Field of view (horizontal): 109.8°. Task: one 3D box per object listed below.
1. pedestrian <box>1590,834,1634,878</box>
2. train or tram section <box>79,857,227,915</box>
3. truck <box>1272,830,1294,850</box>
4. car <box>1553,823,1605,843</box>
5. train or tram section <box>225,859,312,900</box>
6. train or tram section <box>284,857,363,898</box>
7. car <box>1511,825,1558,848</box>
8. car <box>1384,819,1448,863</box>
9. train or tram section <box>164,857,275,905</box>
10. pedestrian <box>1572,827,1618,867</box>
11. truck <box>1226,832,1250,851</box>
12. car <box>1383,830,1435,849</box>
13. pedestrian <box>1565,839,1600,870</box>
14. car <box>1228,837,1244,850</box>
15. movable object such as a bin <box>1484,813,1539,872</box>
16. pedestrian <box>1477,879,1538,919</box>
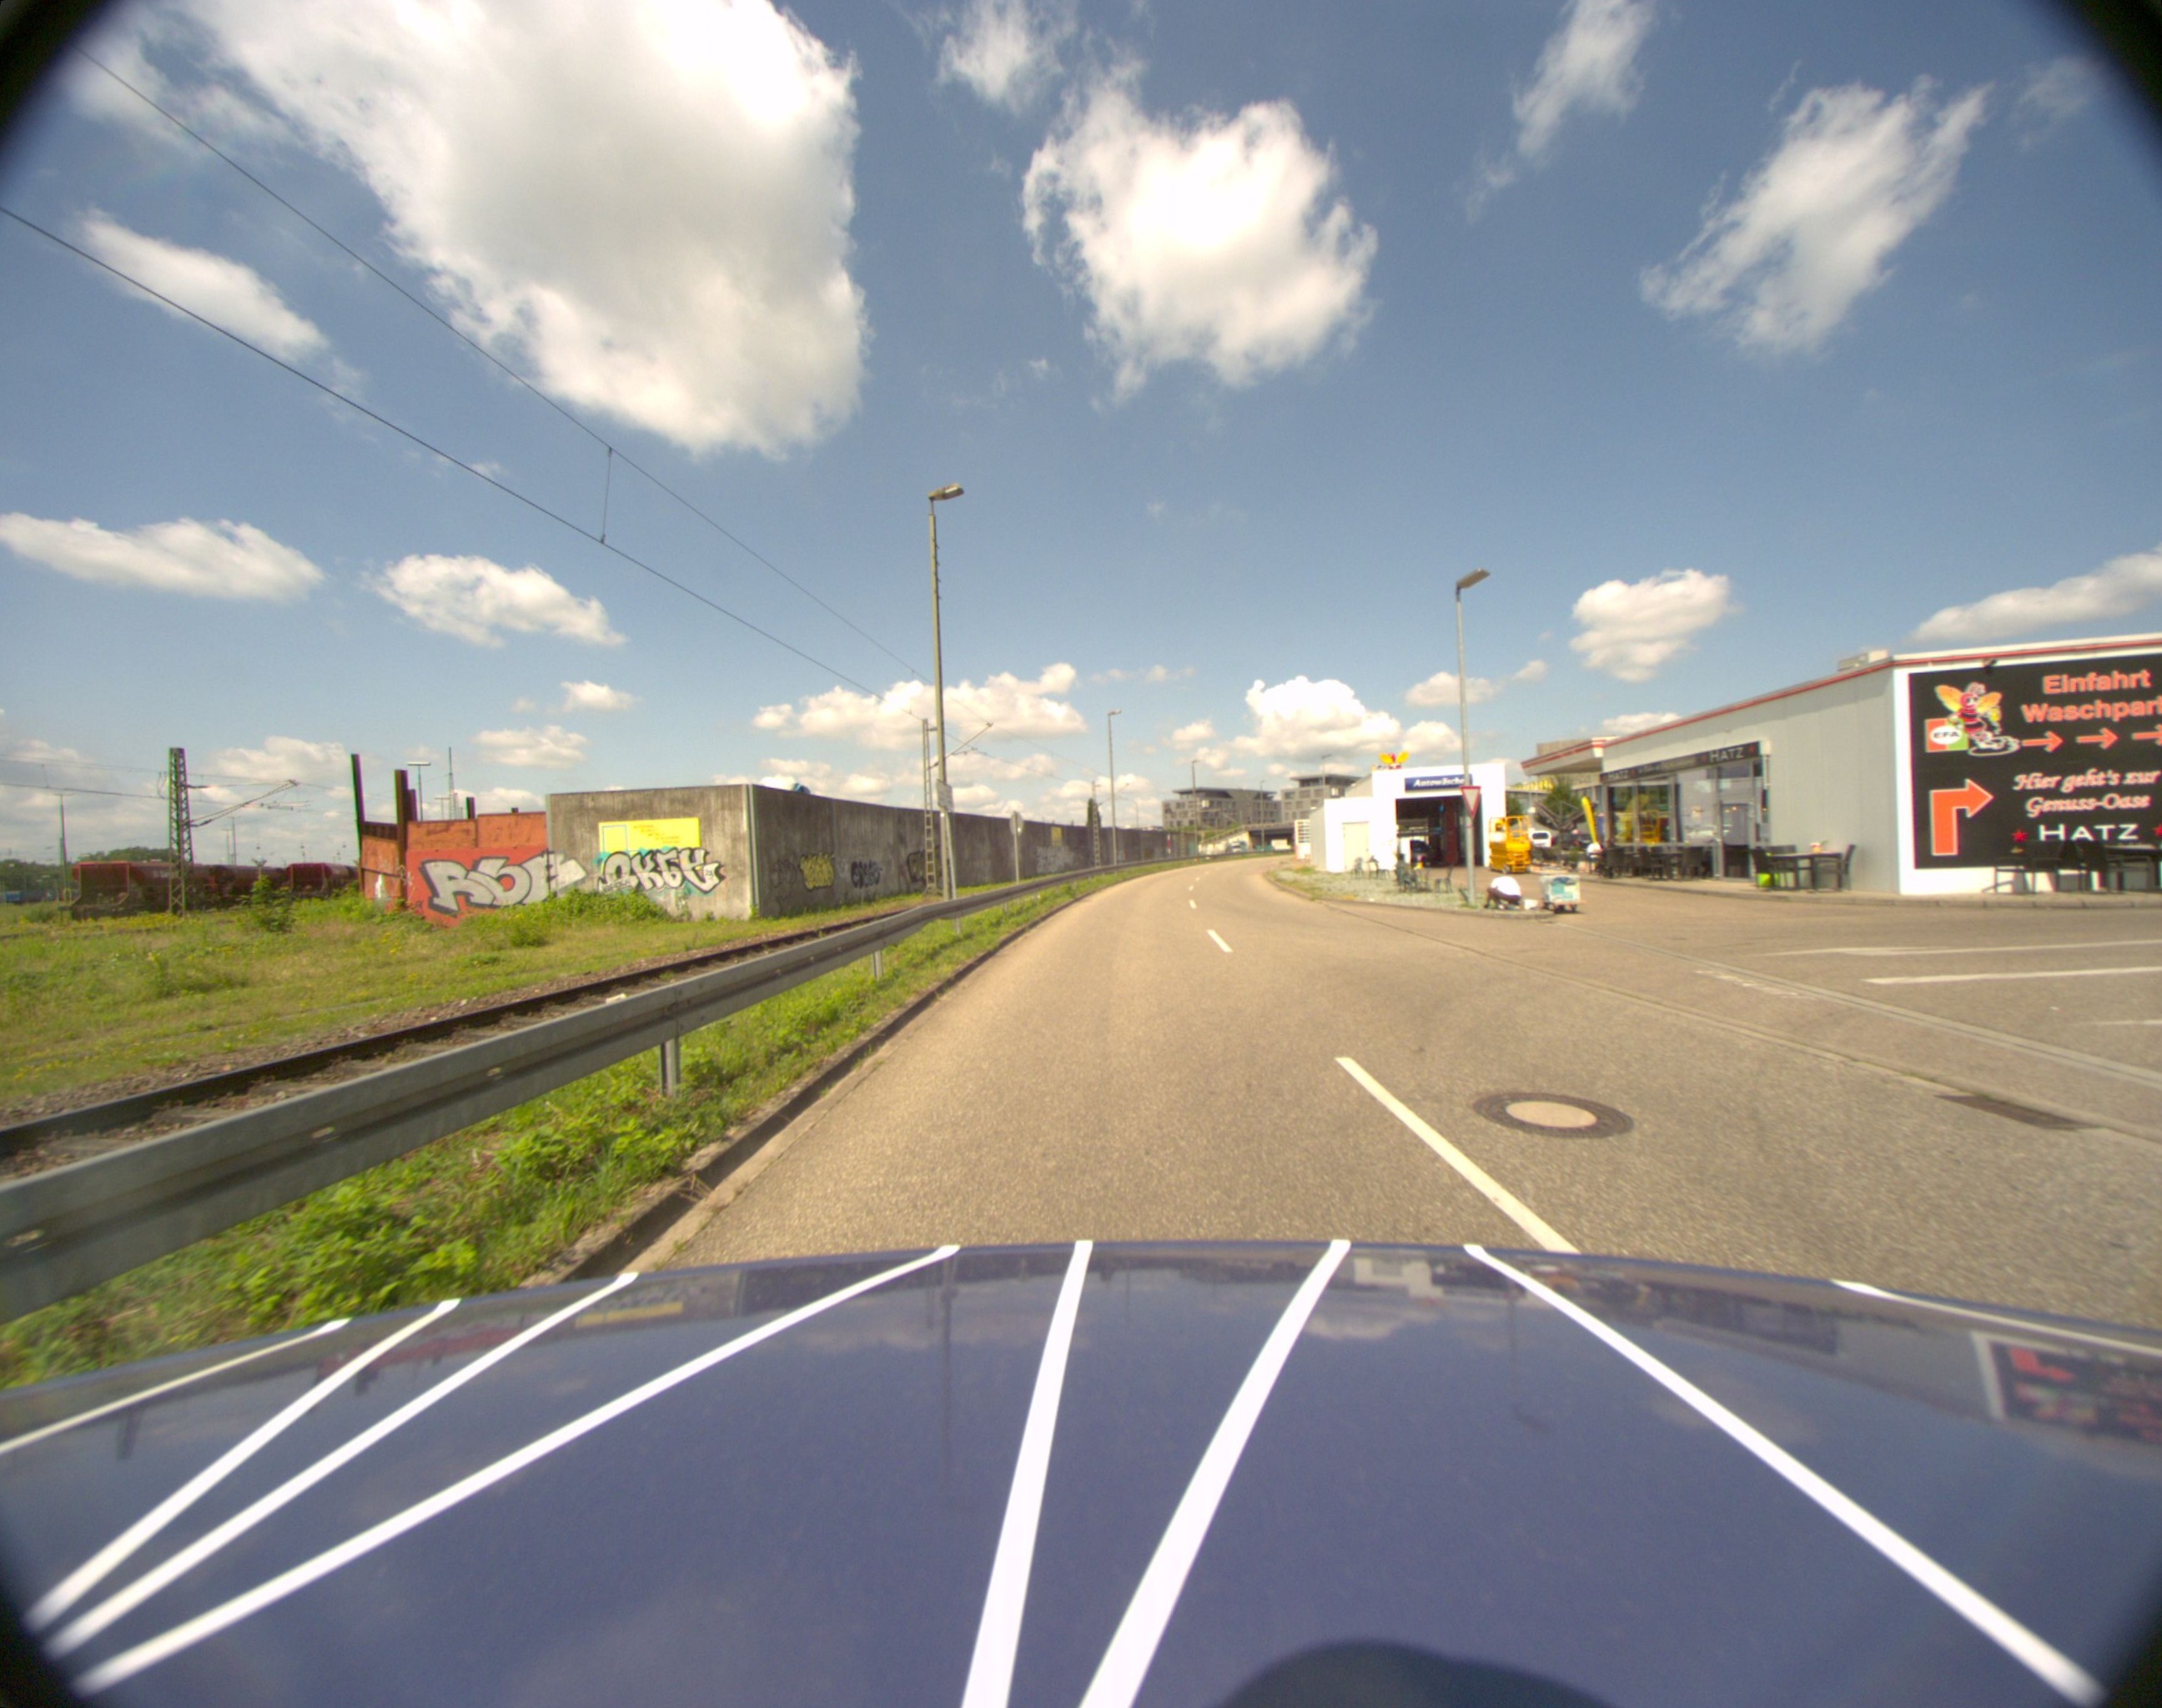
[{"bbox_3d":[15.865,0.052,22.725,0.754,1.249,0.900,-3,1,14],"label":"pedestrian"},{"bbox_3d":[-67.386,2.213,55.674,3.307,3.695,12.520,-3,1,-34],"label":"train or tram section"},{"bbox_3d":[35.266,-2.472,132.946,2.991,3.400,8.118,-2,1,10],"label":"truck"},{"bbox_3d":[40.958,-1.749,62.651,1.997,1.543,4.600,-2,1,12],"label":"car"},{"bbox_3d":[-81.372,2.483,76.391,3.105,3.695,12.520,-3,1,-34],"label":"train or tram section"},{"bbox_3d":[-76.828,2.311,77.368,3.211,3.695,12.520,-3,1,-34],"label":"train or tram section"},{"bbox_3d":[37.730,-1.457,63.353,1.997,1.768,4.600,-2,1,12],"label":"car"},{"bbox_3d":[17.339,-0.694,39.534,1.997,2.097,5.014,-2,1,12],"label":"car"},{"bbox_3d":[-74.407,2.250,66.009,3.235,3.695,12.520,-3,1,-34],"label":"train or tram section"},{"bbox_3d":[17.903,-0.243,26.482,0.940,1.300,0.864,-3,1,-4],"label":"pedestrian"},{"bbox_3d":[33.360,-2.676,161.776,2.655,3.625,6.883,-4,2,-7],"label":"truck"},{"bbox_3d":[33.805,-1.515,78.378,2.003,1.822,4.403,-3,2,-39],"label":"car"},{"bbox_3d":[18.107,0.014,27.441,0.820,1.104,0.756,-2,1,12],"label":"pedestrian"},{"bbox_3d":[30.782,-2.085,150.844,2.065,2.512,5.882,-4,1,3],"label":"car"},{"bbox_3d":[16.490,-0.470,29.199,1.064,2.140,2.705,-2,2,13],"label":"movable object such as a bin"},{"bbox_3d":[8.928,0.937,15.941,0.864,0.755,0.818,-3,0,11],"label":"pedestrian"}]
